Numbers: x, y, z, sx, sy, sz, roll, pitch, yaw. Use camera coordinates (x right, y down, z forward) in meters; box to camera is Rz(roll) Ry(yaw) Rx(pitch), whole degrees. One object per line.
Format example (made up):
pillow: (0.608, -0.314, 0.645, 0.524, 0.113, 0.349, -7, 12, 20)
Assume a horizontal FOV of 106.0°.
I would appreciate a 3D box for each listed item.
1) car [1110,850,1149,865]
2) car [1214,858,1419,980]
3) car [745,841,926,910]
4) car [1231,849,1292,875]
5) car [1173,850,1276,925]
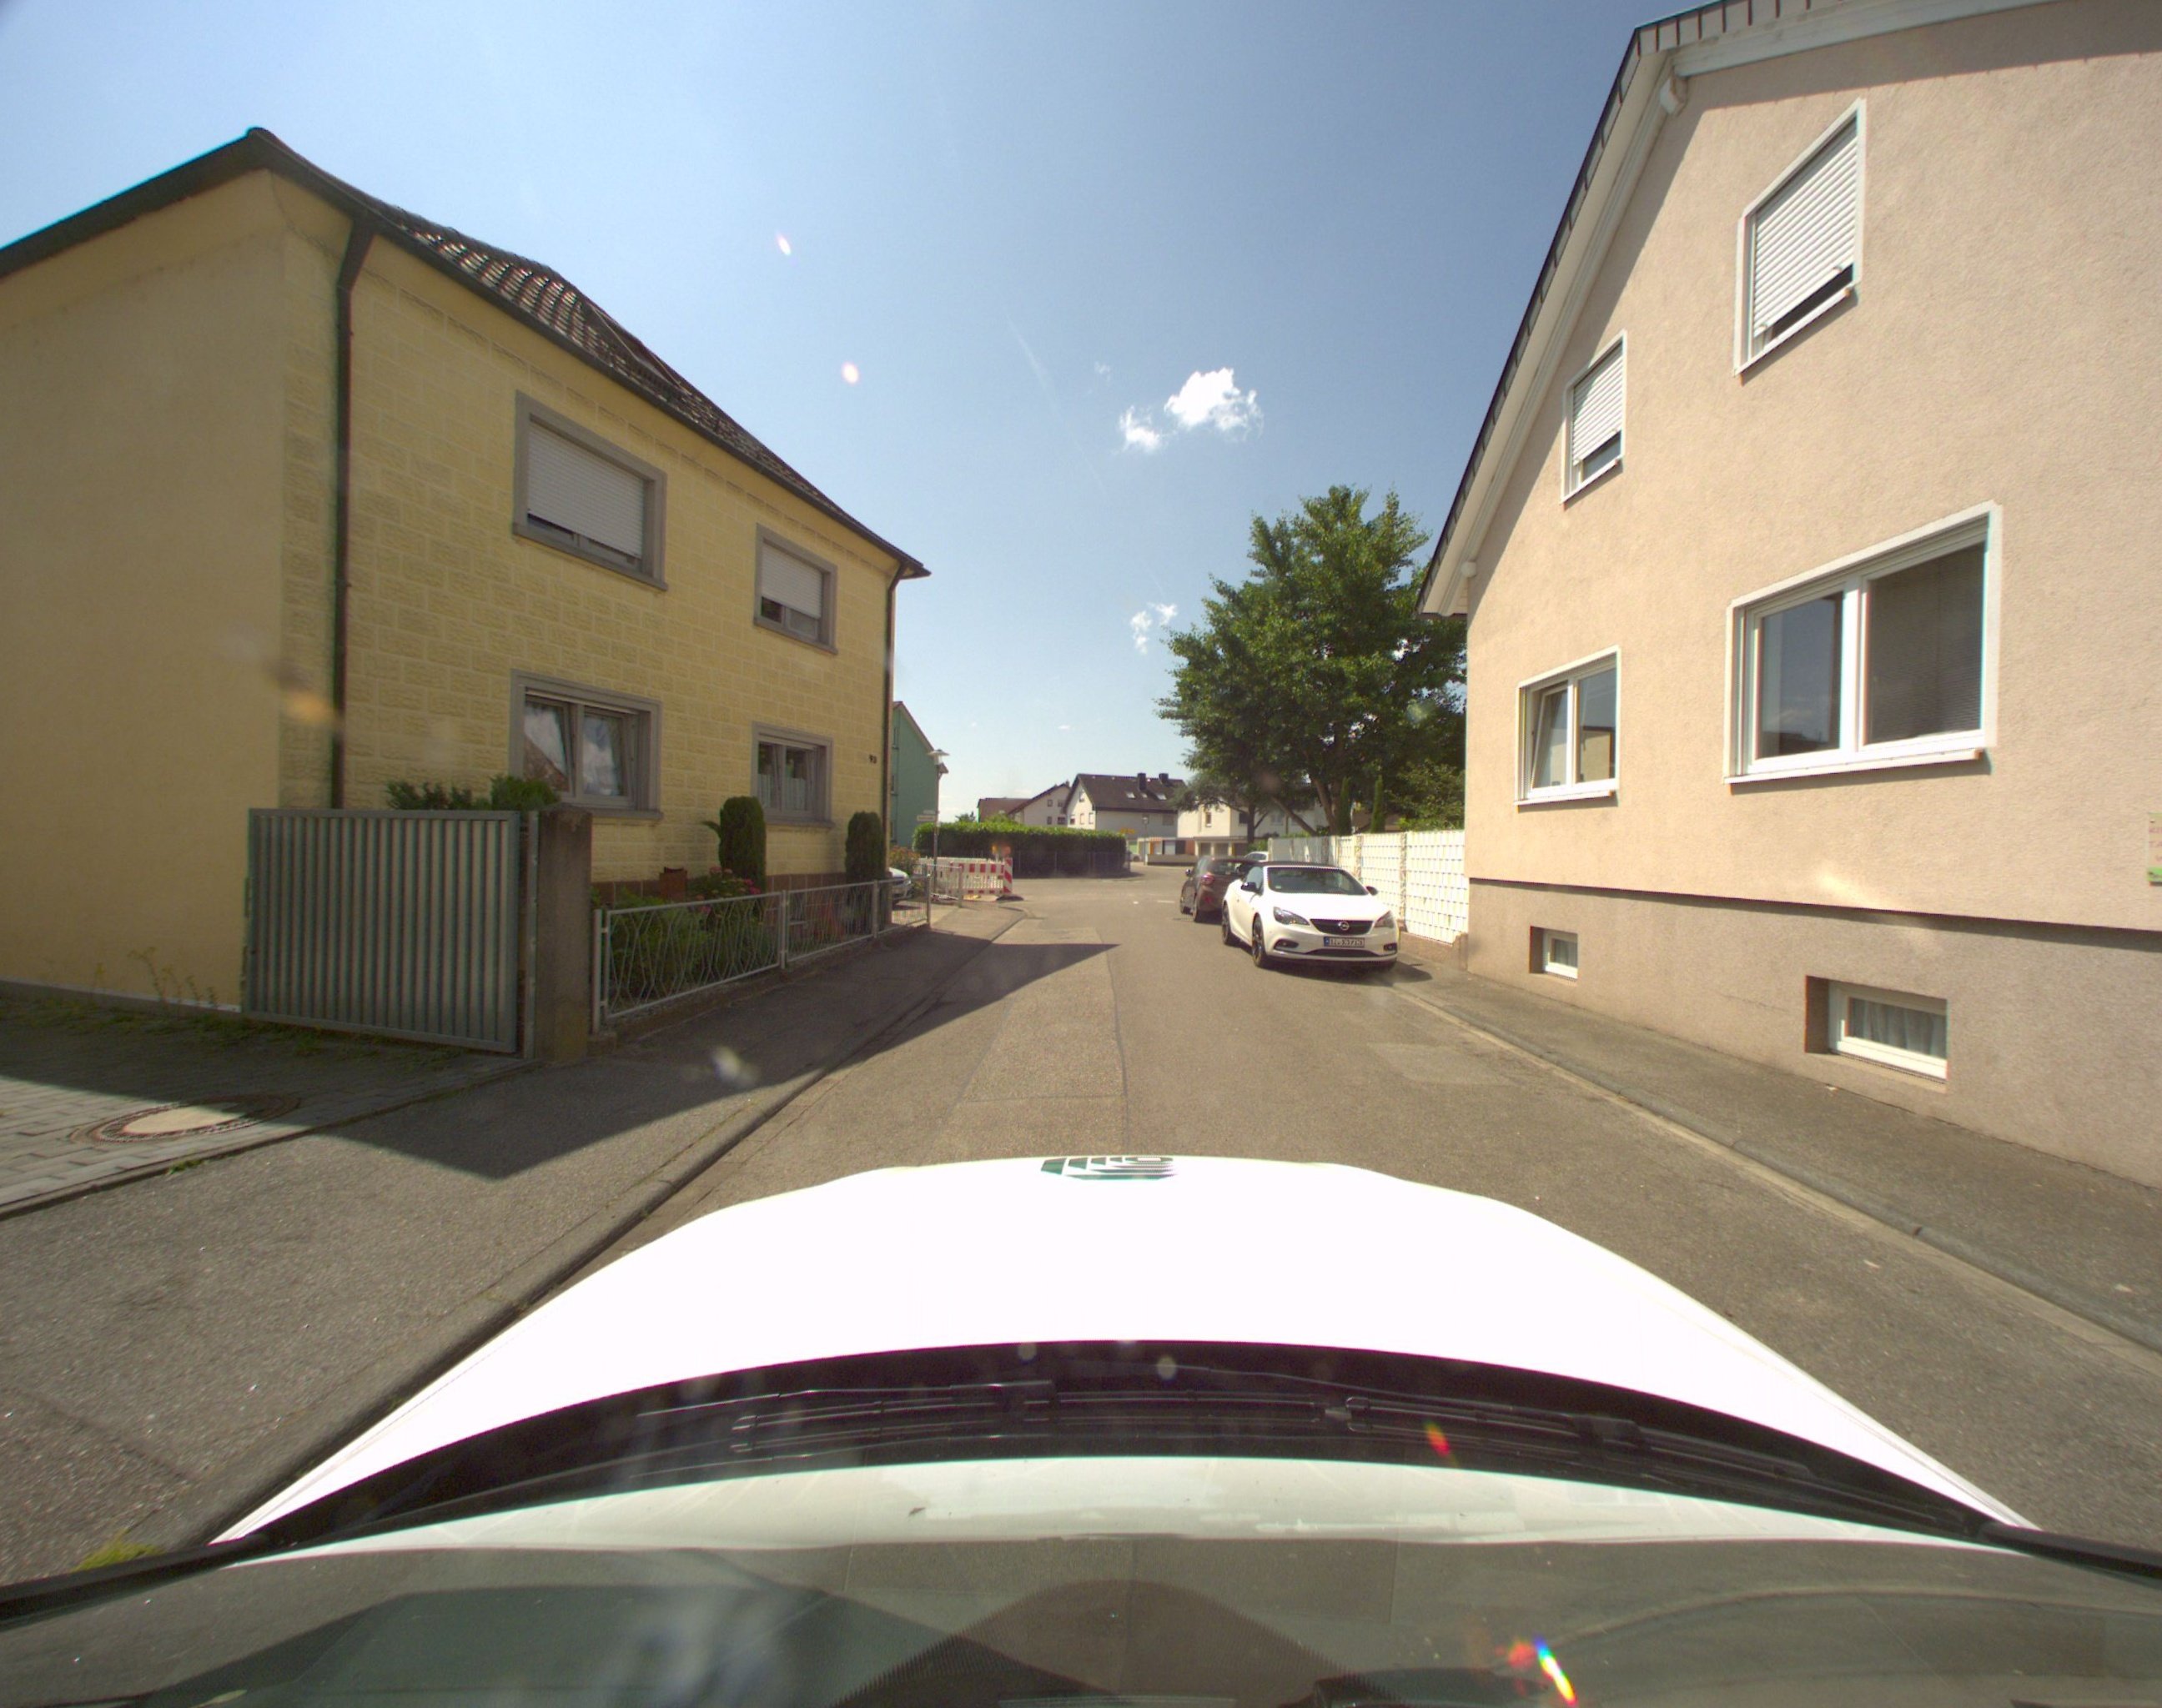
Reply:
car: (5.064, 0.352, 85.368, 3.611, 1.408, 1.772, 1, 0, -21)
car: (3.329, 0.817, 12.538, 1.888, 1.428, 4.739, 2, 0, 2)
car: (-6.097, 0.470, 20.066, 4.416, 1.485, 1.803, 1, 0, 33)
car: (11.562, 0.490, 52.349, 1.805, 1.563, 4.113, 1, 1, -22)
car: (3.292, 0.705, 19.385, 1.707, 1.532, 4.035, 2, 0, 0)
